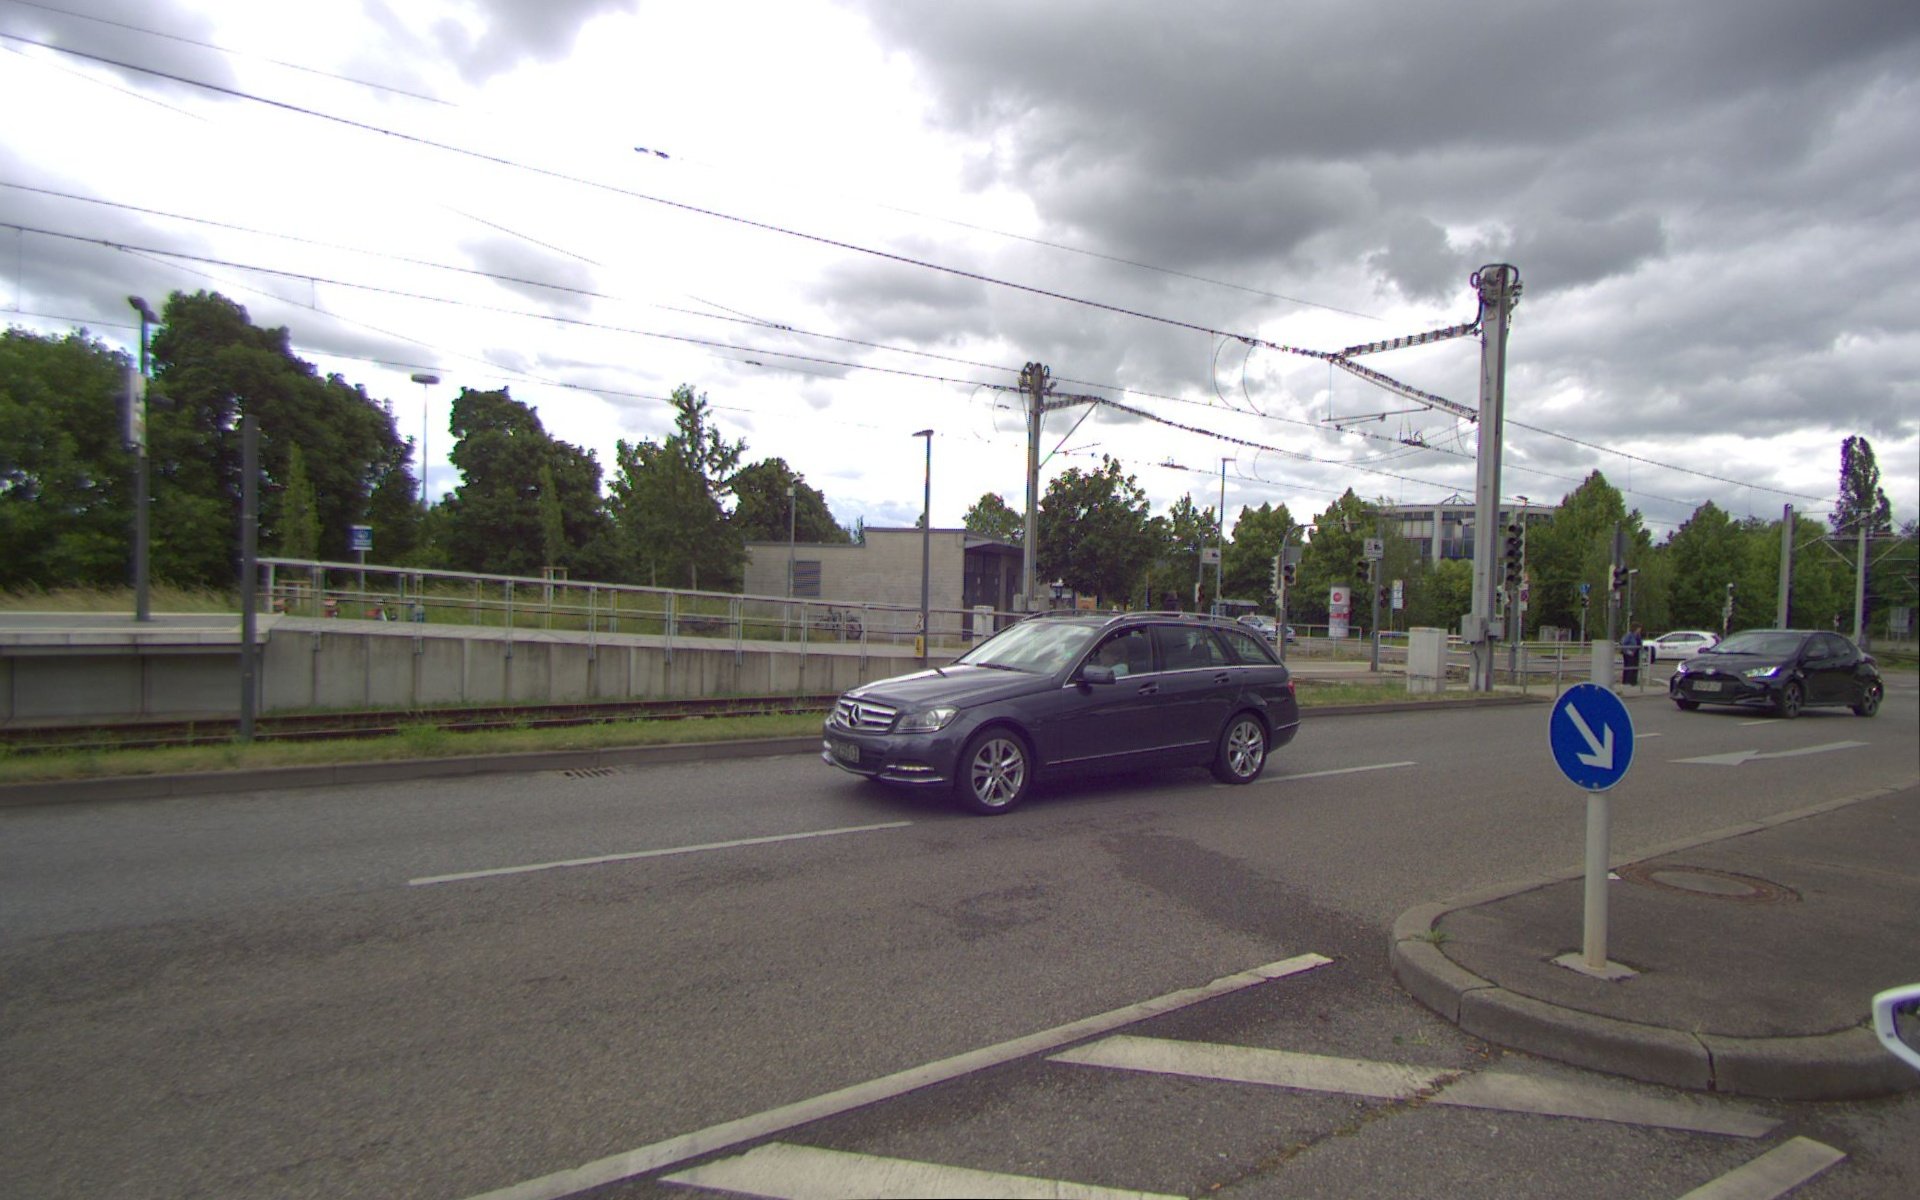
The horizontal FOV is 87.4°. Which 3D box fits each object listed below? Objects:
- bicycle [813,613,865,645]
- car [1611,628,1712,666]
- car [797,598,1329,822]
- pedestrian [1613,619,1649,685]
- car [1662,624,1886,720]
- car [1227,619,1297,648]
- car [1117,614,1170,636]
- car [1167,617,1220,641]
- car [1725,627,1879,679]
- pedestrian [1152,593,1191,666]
[{"bbox_3d":[-4.200,0.988,34.809,1.762,1.029,0.411,1,0,18],"label":"bicycle"},{"bbox_3d":[31.571,2.083,45.290,3.685,1.528,1.775,-1,1,36],"label":"car"},{"bbox_3d":[1.030,0.762,8.542,4.499,1.458,1.680,1,-1,-35],"label":"car"},{"bbox_3d":[16.302,1.250,24.406,0.640,1.577,0.354,-1,1,4],"label":"pedestrian"},{"bbox_3d":[14.351,1.214,17.695,3.887,1.516,1.588,1,-1,-26],"label":"car"},{"bbox_3d":[16.501,1.805,54.992,1.496,1.395,3.979,2,0,-22],"label":"car"},{"bbox_3d":[12.101,1.629,66.315,1.698,1.327,3.728,2,0,-22],"label":"car"},{"bbox_3d":[14.185,1.743,61.187,1.530,1.327,3.276,1,0,-22],"label":"car"},{"bbox_3d":[30.227,1.877,36.143,1.717,1.536,3.956,4,-1,-38],"label":"car"},{"bbox_3d":[5.491,0.757,26.047,0.785,1.852,0.568,1,0,-34],"label":"pedestrian"}]
